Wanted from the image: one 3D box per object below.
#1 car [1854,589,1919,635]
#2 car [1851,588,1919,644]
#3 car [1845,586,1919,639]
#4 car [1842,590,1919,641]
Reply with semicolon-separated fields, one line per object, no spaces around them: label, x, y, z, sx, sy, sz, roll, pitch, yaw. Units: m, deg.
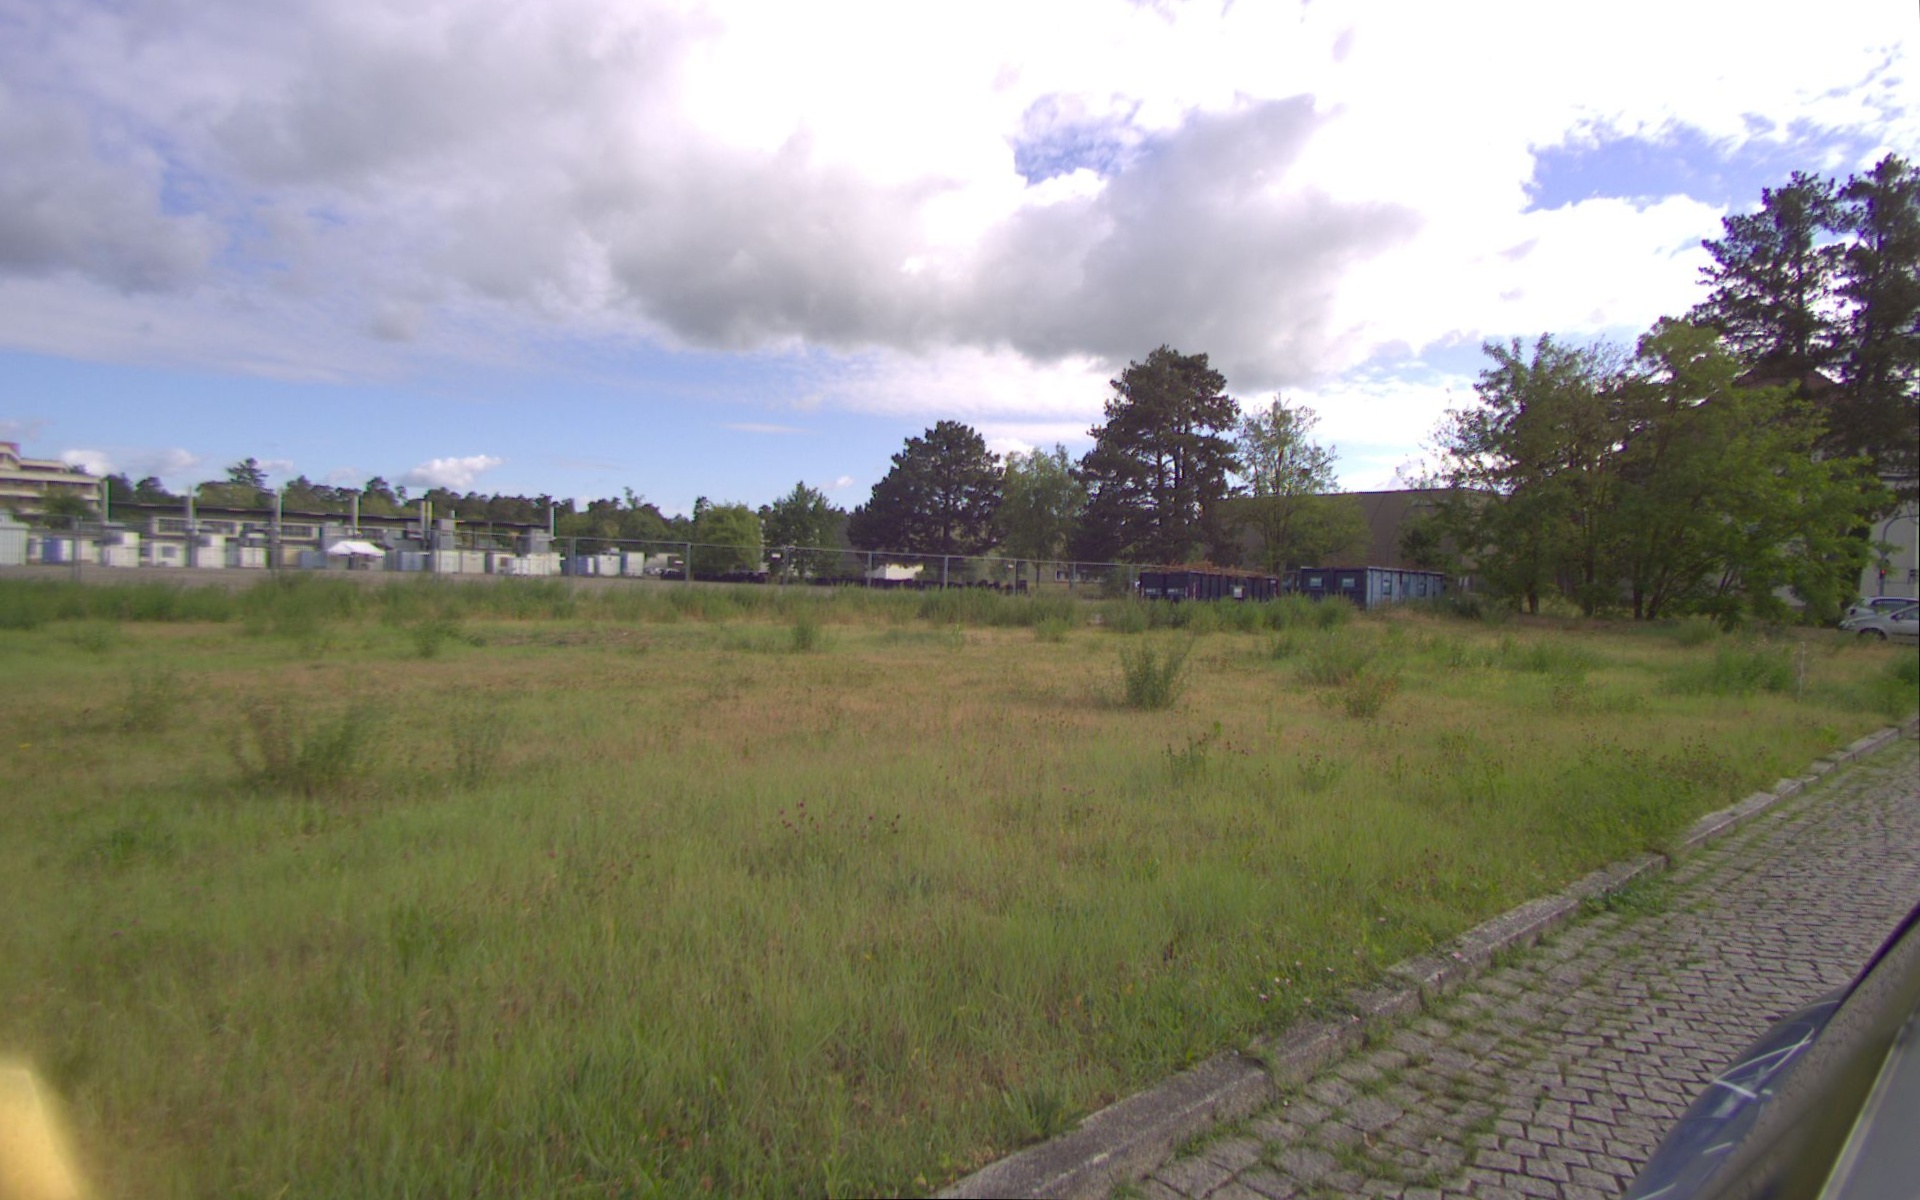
car;34.055;0.502;34.955;1.796;1.442;4.558;0;5;-43
car;28.527;0.554;29.360;1.713;1.497;3.779;1;4;-43
car;32.131;0.486;33.311;1.797;1.593;4.334;-1;5;-45
car;30.362;0.597;31.304;1.765;1.423;4.376;1;4;-41
